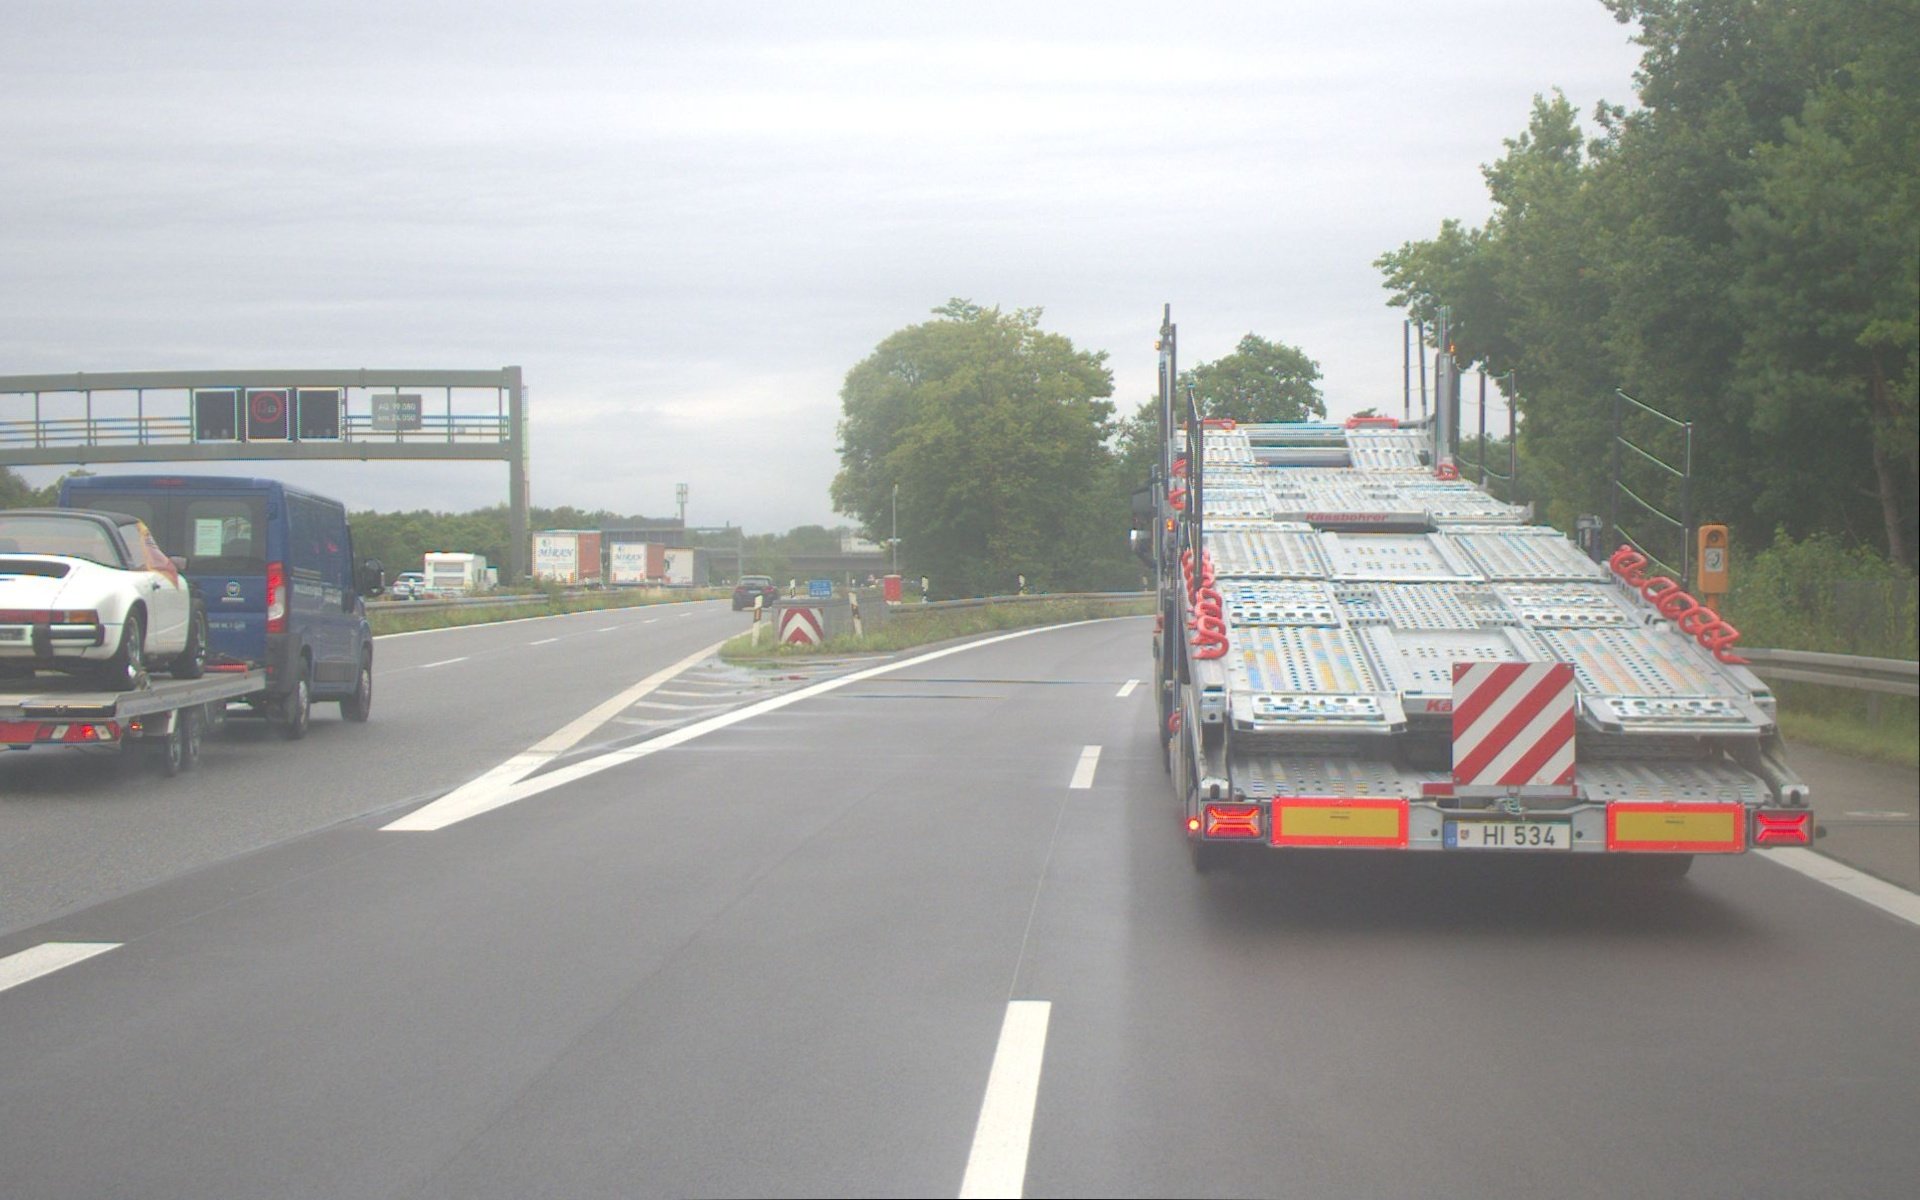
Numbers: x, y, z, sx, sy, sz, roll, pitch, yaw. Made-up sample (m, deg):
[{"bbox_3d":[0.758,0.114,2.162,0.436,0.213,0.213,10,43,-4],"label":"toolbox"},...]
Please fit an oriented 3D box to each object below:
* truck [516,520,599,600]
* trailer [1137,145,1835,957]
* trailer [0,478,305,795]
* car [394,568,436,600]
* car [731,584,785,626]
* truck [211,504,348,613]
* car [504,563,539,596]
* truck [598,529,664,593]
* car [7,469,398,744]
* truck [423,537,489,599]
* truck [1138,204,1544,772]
[{"bbox_3d":[-23.025,-2.303,197.338,3.733,4.402,10.196,1,1,-1],"label":"truck"},{"bbox_3d":[2.419,-0.267,19.230,2.778,3.273,10.406,1,1,3],"label":"trailer"},{"bbox_3d":[-6.642,0.189,25.223,2.484,1.988,7.064,1,0,-2],"label":"trailer"},{"bbox_3d":[-26.892,-0.792,169.716,1.682,1.525,4.001,1,0,-4],"label":"car"},{"bbox_3d":[-8.125,0.198,138.506,1.961,1.632,5.625,1,0,-1],"label":"car"},{"bbox_3d":[-21.970,-1.328,111.441,2.856,3.353,8.631,1,0,-1],"label":"truck"},{"bbox_3d":[-27.804,-1.279,218.121,1.729,2.007,4.000,1,0,-1],"label":"car"},{"bbox_3d":[-23.437,-2.801,245.302,3.733,4.402,11.897,1,1,-1],"label":"truck"},{"bbox_3d":[-6.839,0.030,31.861,2.372,2.259,6.257,1,0,-2],"label":"car"},{"bbox_3d":[-22.370,-1.417,152.839,2.243,2.695,5.279,1,1,-1],"label":"truck"},{"bbox_3d":[2.969,-0.853,29.038,2.739,3.954,9.127,2,1,3],"label":"truck"}]
